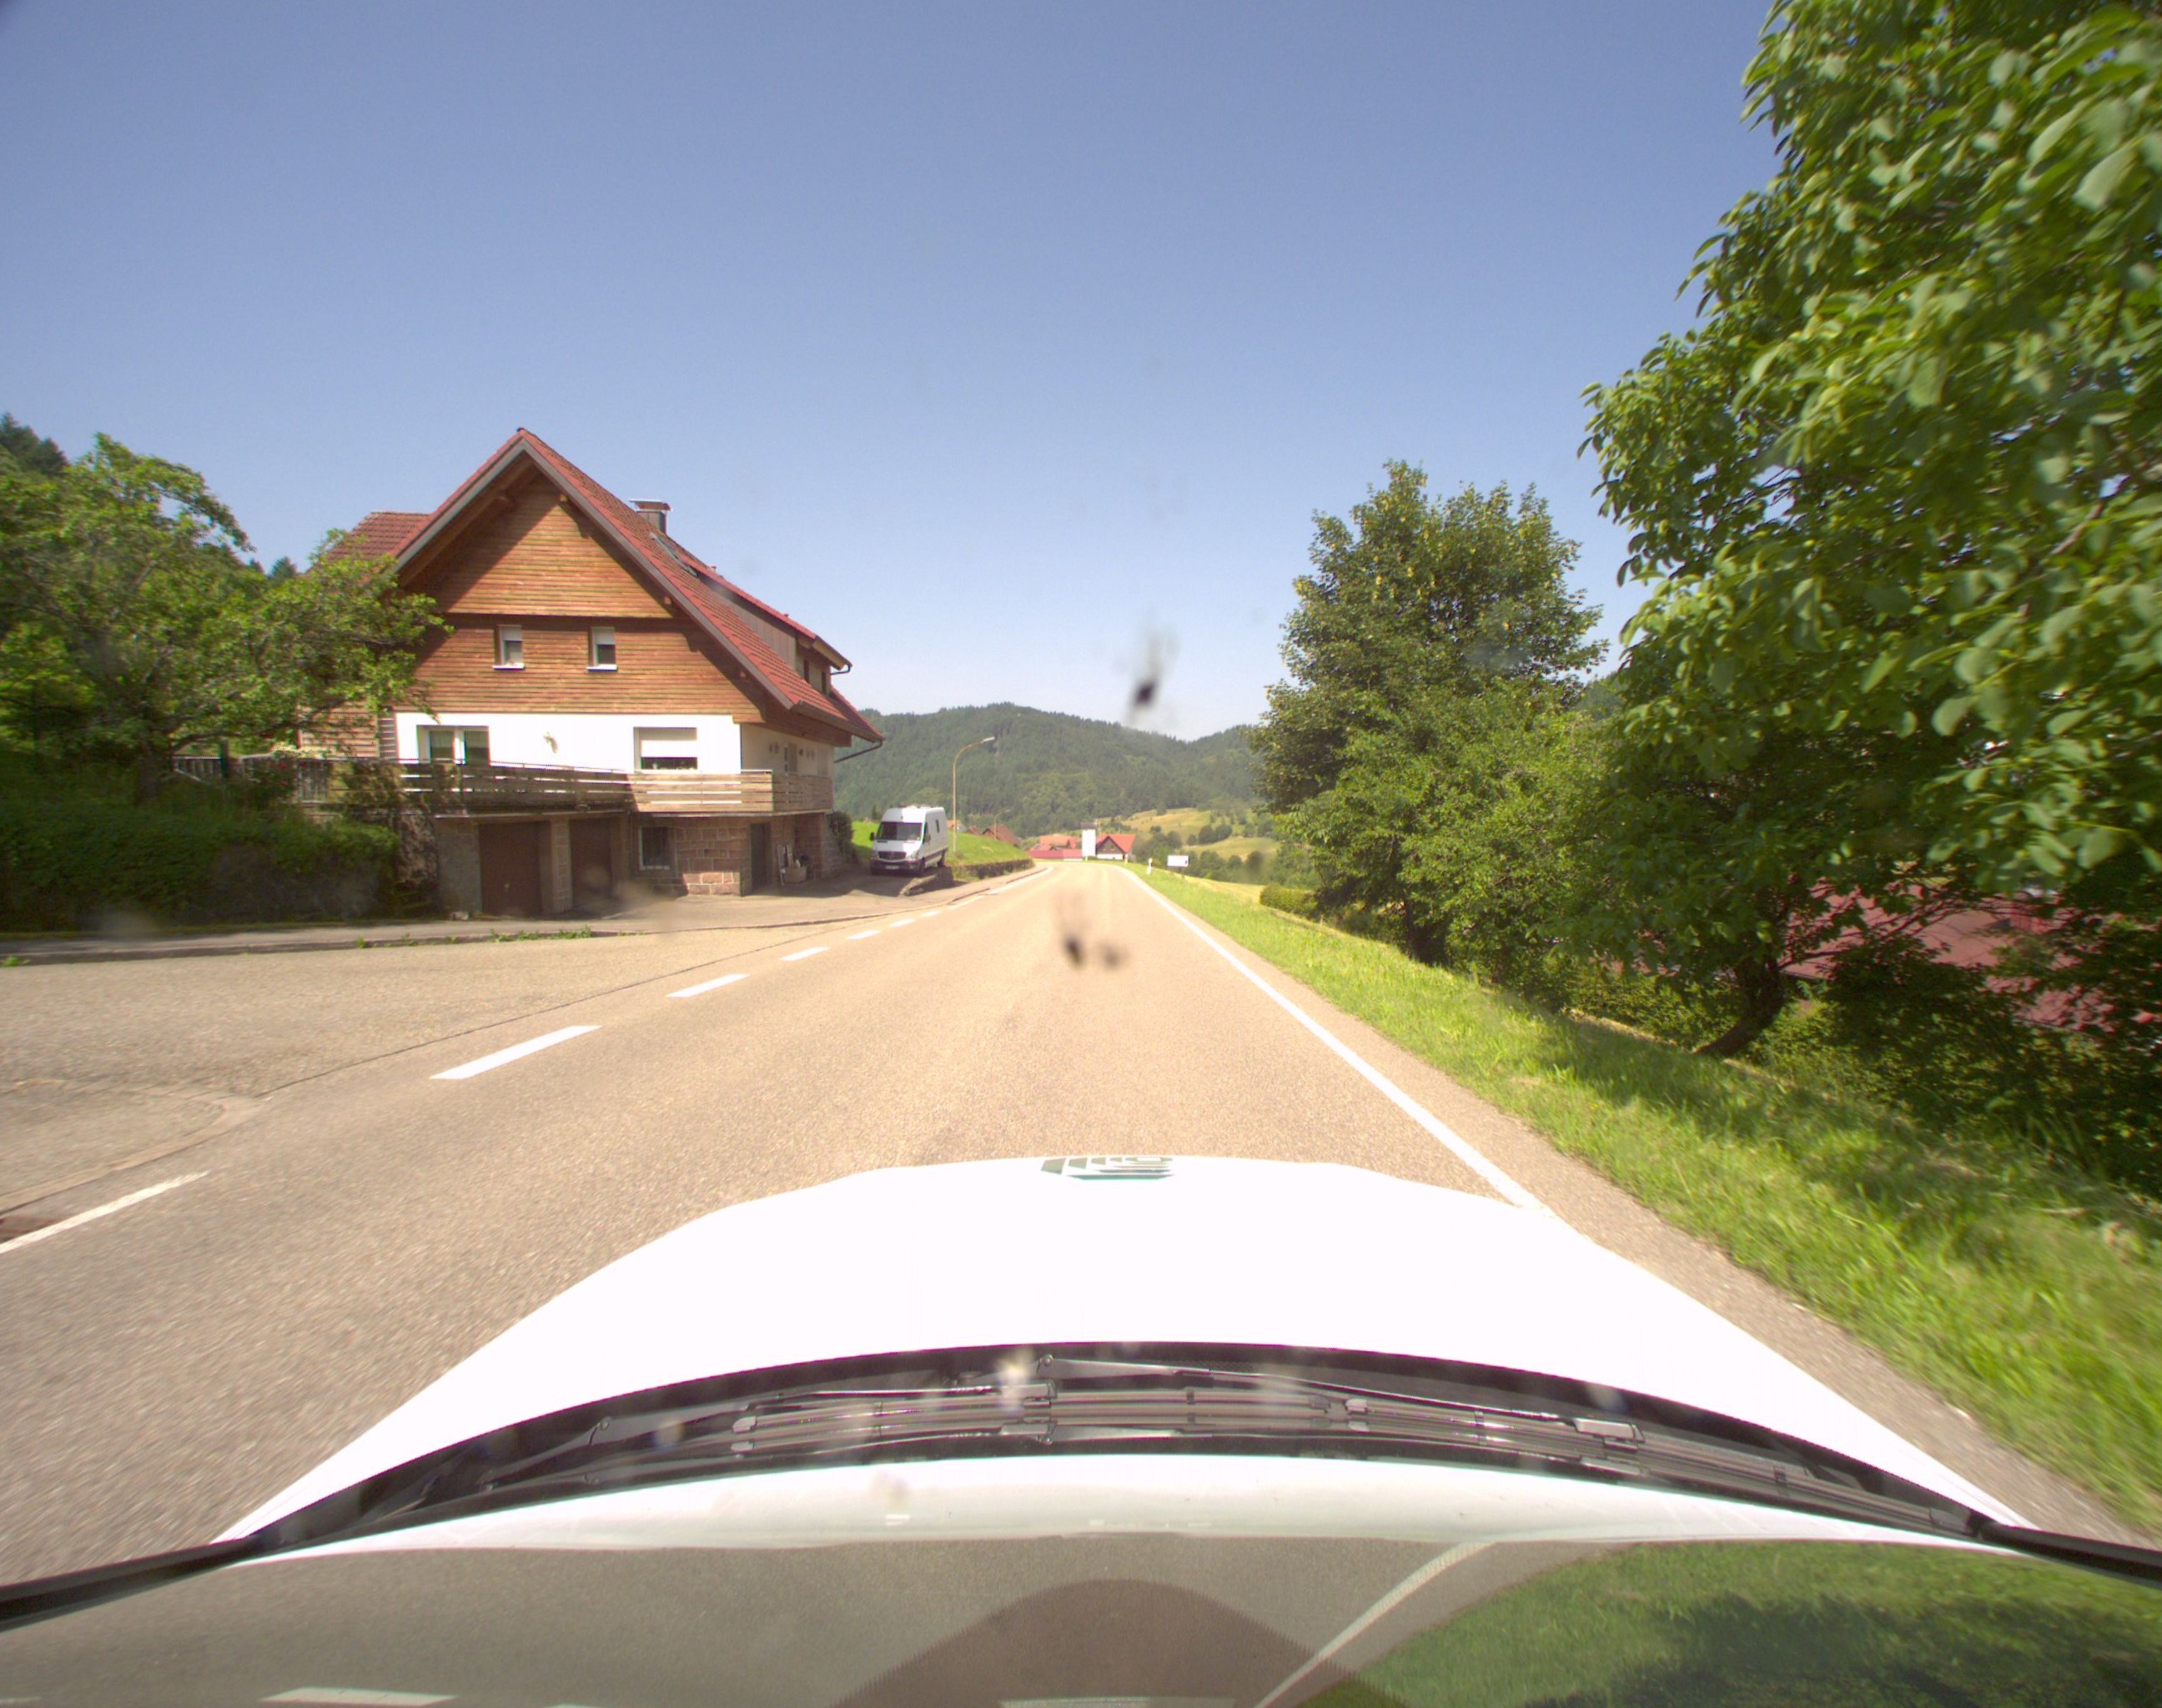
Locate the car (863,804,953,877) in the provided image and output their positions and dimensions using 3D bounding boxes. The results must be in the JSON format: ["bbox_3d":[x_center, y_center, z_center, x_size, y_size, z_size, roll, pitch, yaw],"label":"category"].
[{"bbox_3d":[-6.940,-0.716,33.612,2.060,2.688,7.177,0,3,1],"label":"car"}]
